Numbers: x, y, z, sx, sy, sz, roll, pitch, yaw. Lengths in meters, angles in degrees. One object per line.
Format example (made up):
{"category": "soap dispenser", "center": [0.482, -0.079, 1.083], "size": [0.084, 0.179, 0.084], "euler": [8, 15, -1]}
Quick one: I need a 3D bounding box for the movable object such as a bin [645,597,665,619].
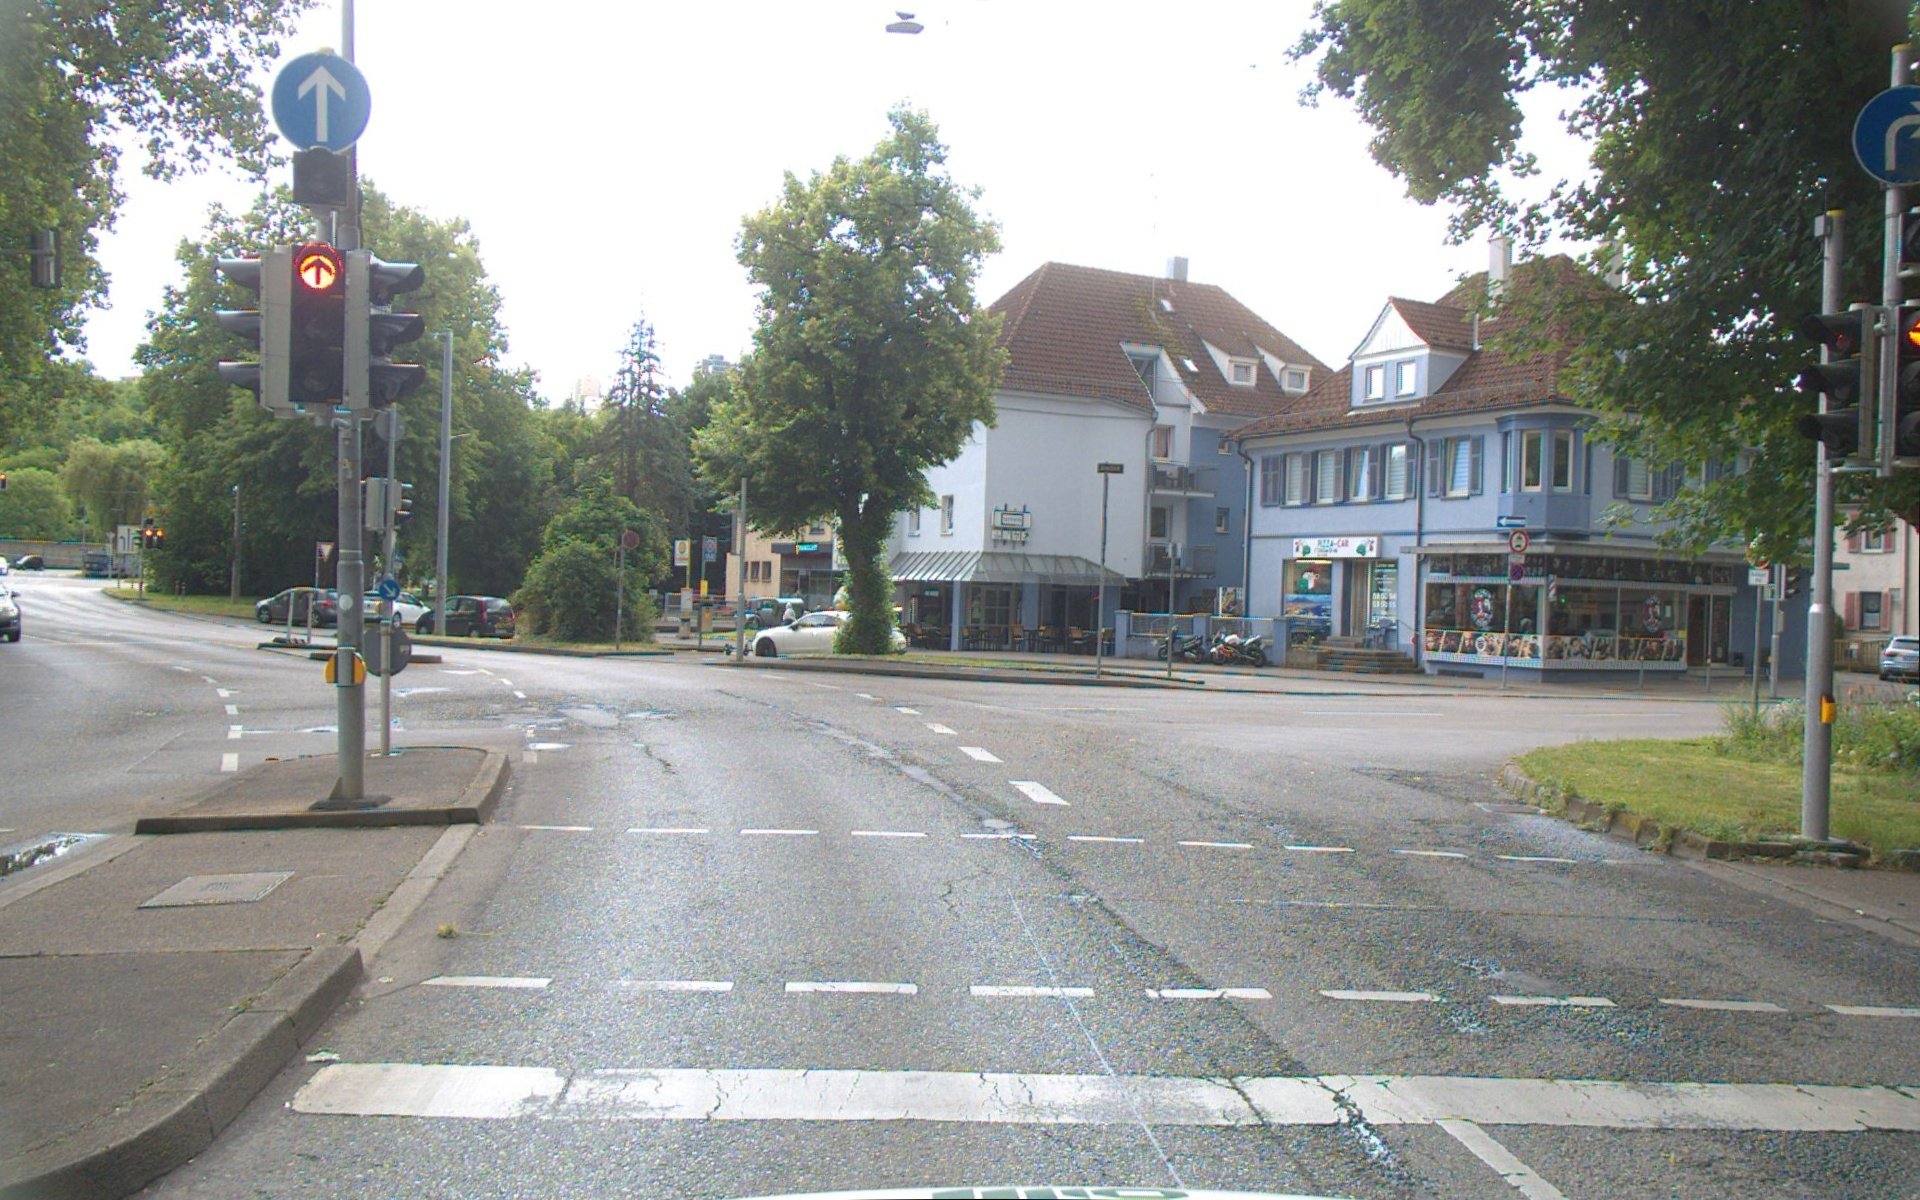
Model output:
{"category": "movable object such as a bin", "center": [-15.848, 0.399, 85.911], "size": [0.937, 1.135, 0.381], "euler": [1, 0, -22]}

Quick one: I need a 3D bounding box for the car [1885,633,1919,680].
{"category": "car", "center": [29.855, 1.739, 51.407], "size": [1.471, 1.393, 3.164], "euler": [1, 0, 38]}

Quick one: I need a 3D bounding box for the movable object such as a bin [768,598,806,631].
{"category": "movable object such as a bin", "center": [-7.714, 0.661, 73.837], "size": [1.424, 1.433, 0.959], "euler": [1, 0, -27]}

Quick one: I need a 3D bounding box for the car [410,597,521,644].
{"category": "car", "center": [-16.004, 0.662, 53.458], "size": [3.519, 1.418, 1.468], "euler": [1, 0, 32]}

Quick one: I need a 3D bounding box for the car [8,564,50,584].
{"category": "car", "center": [-102.204, -2.815, 181.493], "size": [3.948, 2.049, 1.978], "euler": [1, 0, -32]}

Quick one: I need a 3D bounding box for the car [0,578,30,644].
{"category": "car", "center": [-21.970, 0.233, 37.042], "size": [1.420, 1.441, 2.828], "euler": [1, 0, -41]}

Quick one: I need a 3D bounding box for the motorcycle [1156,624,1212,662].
{"category": "motorcycle", "center": [6.795, 1.295, 50.232], "size": [1.609, 1.082, 0.690], "euler": [1, 0, 44]}

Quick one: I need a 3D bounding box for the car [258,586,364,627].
{"category": "car", "center": [-24.856, 0.248, 63.391], "size": [3.469, 1.490, 1.586], "euler": [1, 0, 12]}

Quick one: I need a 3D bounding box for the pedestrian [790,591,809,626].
{"category": "pedestrian", "center": [-7.269, 0.381, 74.928], "size": [0.662, 1.572, 0.708], "euler": [1, 0, 11]}

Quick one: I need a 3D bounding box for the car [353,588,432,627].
{"category": "car", "center": [-22.665, 0.310, 66.181], "size": [1.512, 1.490, 3.398], "euler": [1, 0, 10]}

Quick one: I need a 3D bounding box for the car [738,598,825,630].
{"category": "car", "center": [-8.154, 0.645, 75.728], "size": [3.690, 1.368, 1.421], "euler": [1, 0, -27]}

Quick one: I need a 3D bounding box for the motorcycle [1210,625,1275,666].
{"category": "motorcycle", "center": [8.275, 1.312, 48.475], "size": [1.765, 1.141, 0.692], "euler": [1, 0, 38]}

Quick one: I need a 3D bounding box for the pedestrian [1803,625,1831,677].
{"category": "pedestrian", "center": [25.664, 1.526, 49.522], "size": [0.574, 1.544, 0.459], "euler": [1, -1, -4]}

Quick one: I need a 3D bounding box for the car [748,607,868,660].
{"category": "car", "center": [-4.242, 0.919, 45.954], "size": [3.110, 1.378, 1.435], "euler": [1, 0, 34]}

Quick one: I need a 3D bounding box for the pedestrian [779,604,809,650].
{"category": "pedestrian", "center": [-5.809, 0.944, 57.918], "size": [0.754, 1.572, 0.675], "euler": [1, -1, 38]}

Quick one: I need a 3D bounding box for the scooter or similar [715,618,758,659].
{"category": "scooter or similar", "center": [-5.728, 0.984, 42.537], "size": [0.408, 1.029, 1.567], "euler": [1, 0, 20]}
